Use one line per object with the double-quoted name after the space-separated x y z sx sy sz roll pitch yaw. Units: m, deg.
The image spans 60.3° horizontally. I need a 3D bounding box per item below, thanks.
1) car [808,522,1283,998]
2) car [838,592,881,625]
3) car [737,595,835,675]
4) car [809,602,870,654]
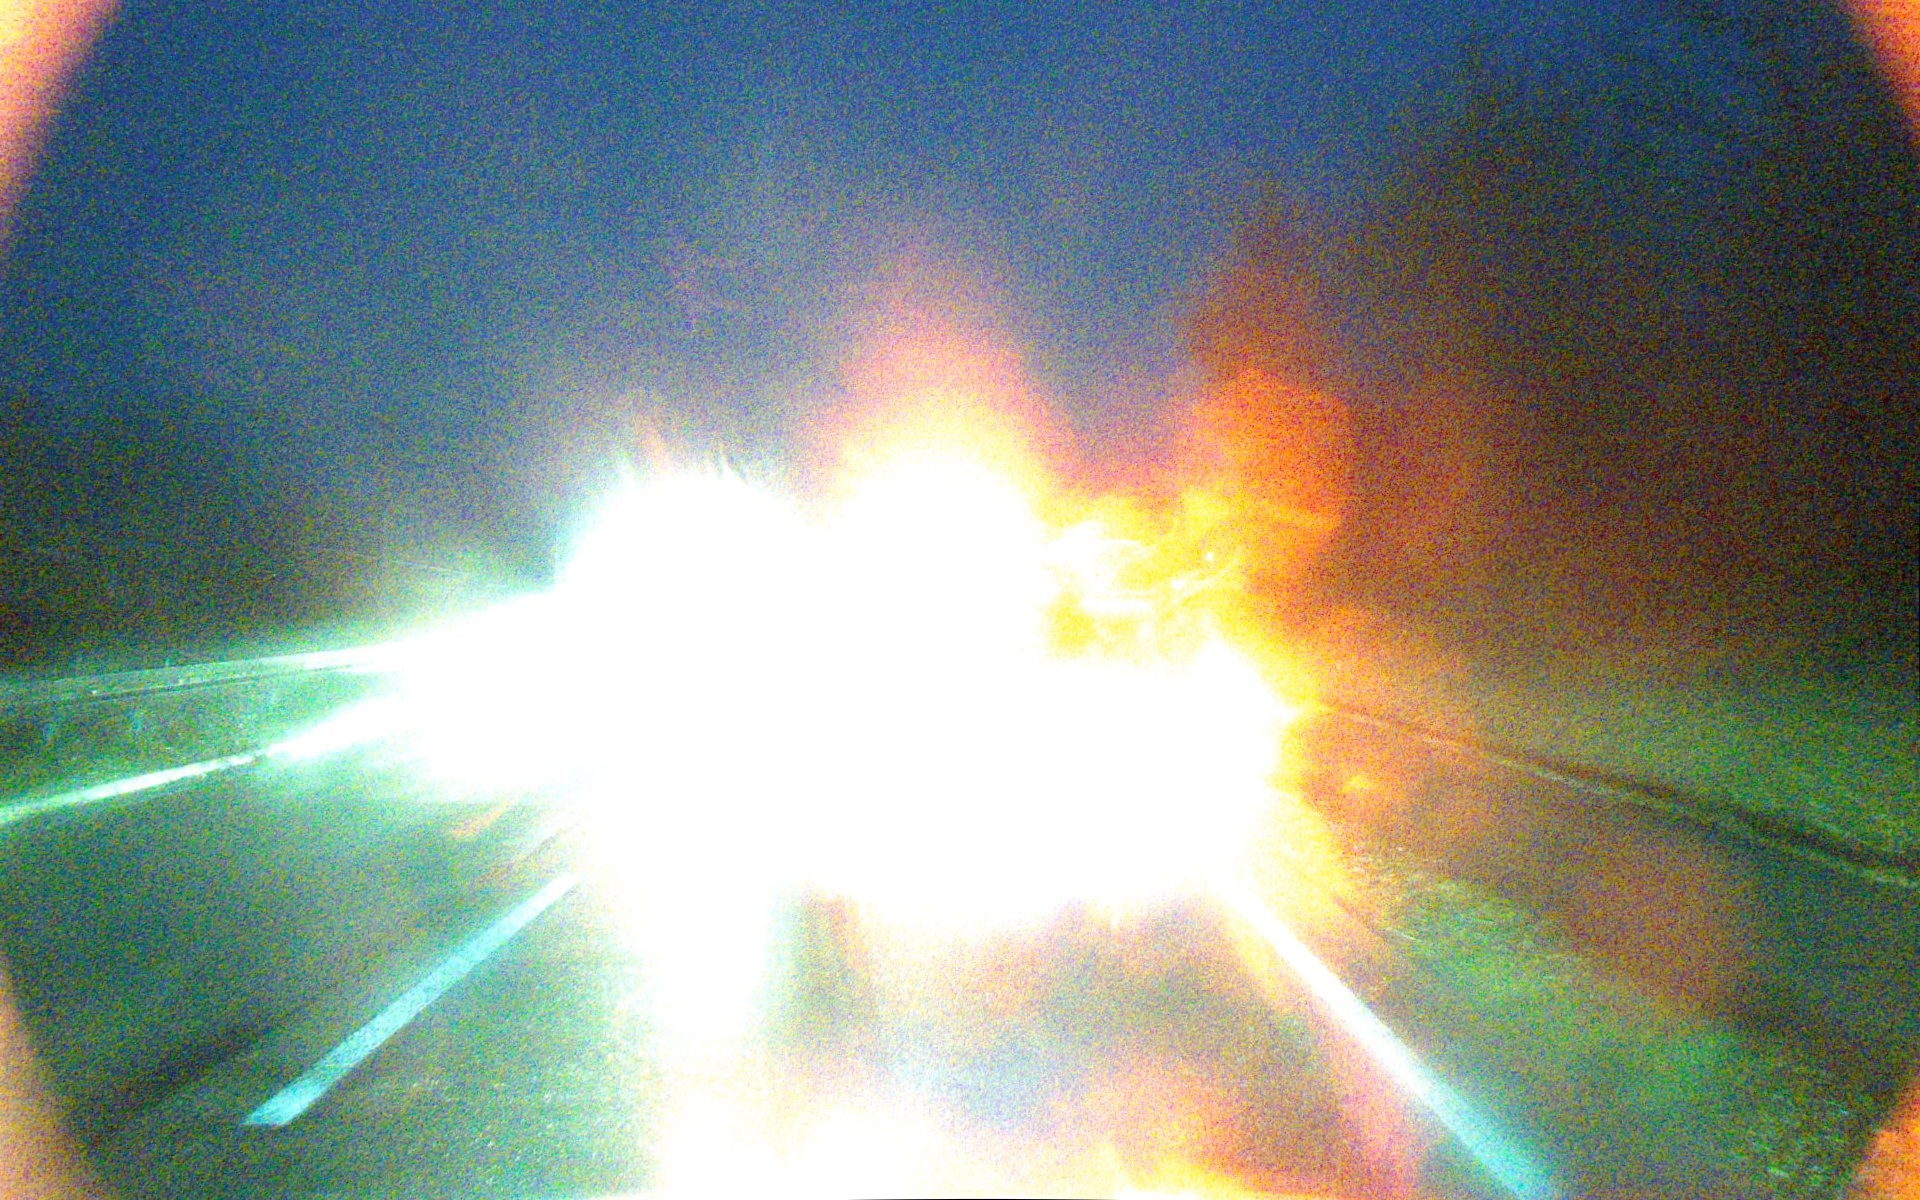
0.306 0.586 8.134 1.739 1.742 4.000 1 0 0 "car"
-4.863 0.392 80.454 1.865 1.495 4.273 2 0 -2 "car"
-3.844 0.737 37.170 1.912 1.685 4.122 0 0 -2 "car"
-3.984 0.909 55.188 1.800 1.573 4.256 1 0 -2 "car"
